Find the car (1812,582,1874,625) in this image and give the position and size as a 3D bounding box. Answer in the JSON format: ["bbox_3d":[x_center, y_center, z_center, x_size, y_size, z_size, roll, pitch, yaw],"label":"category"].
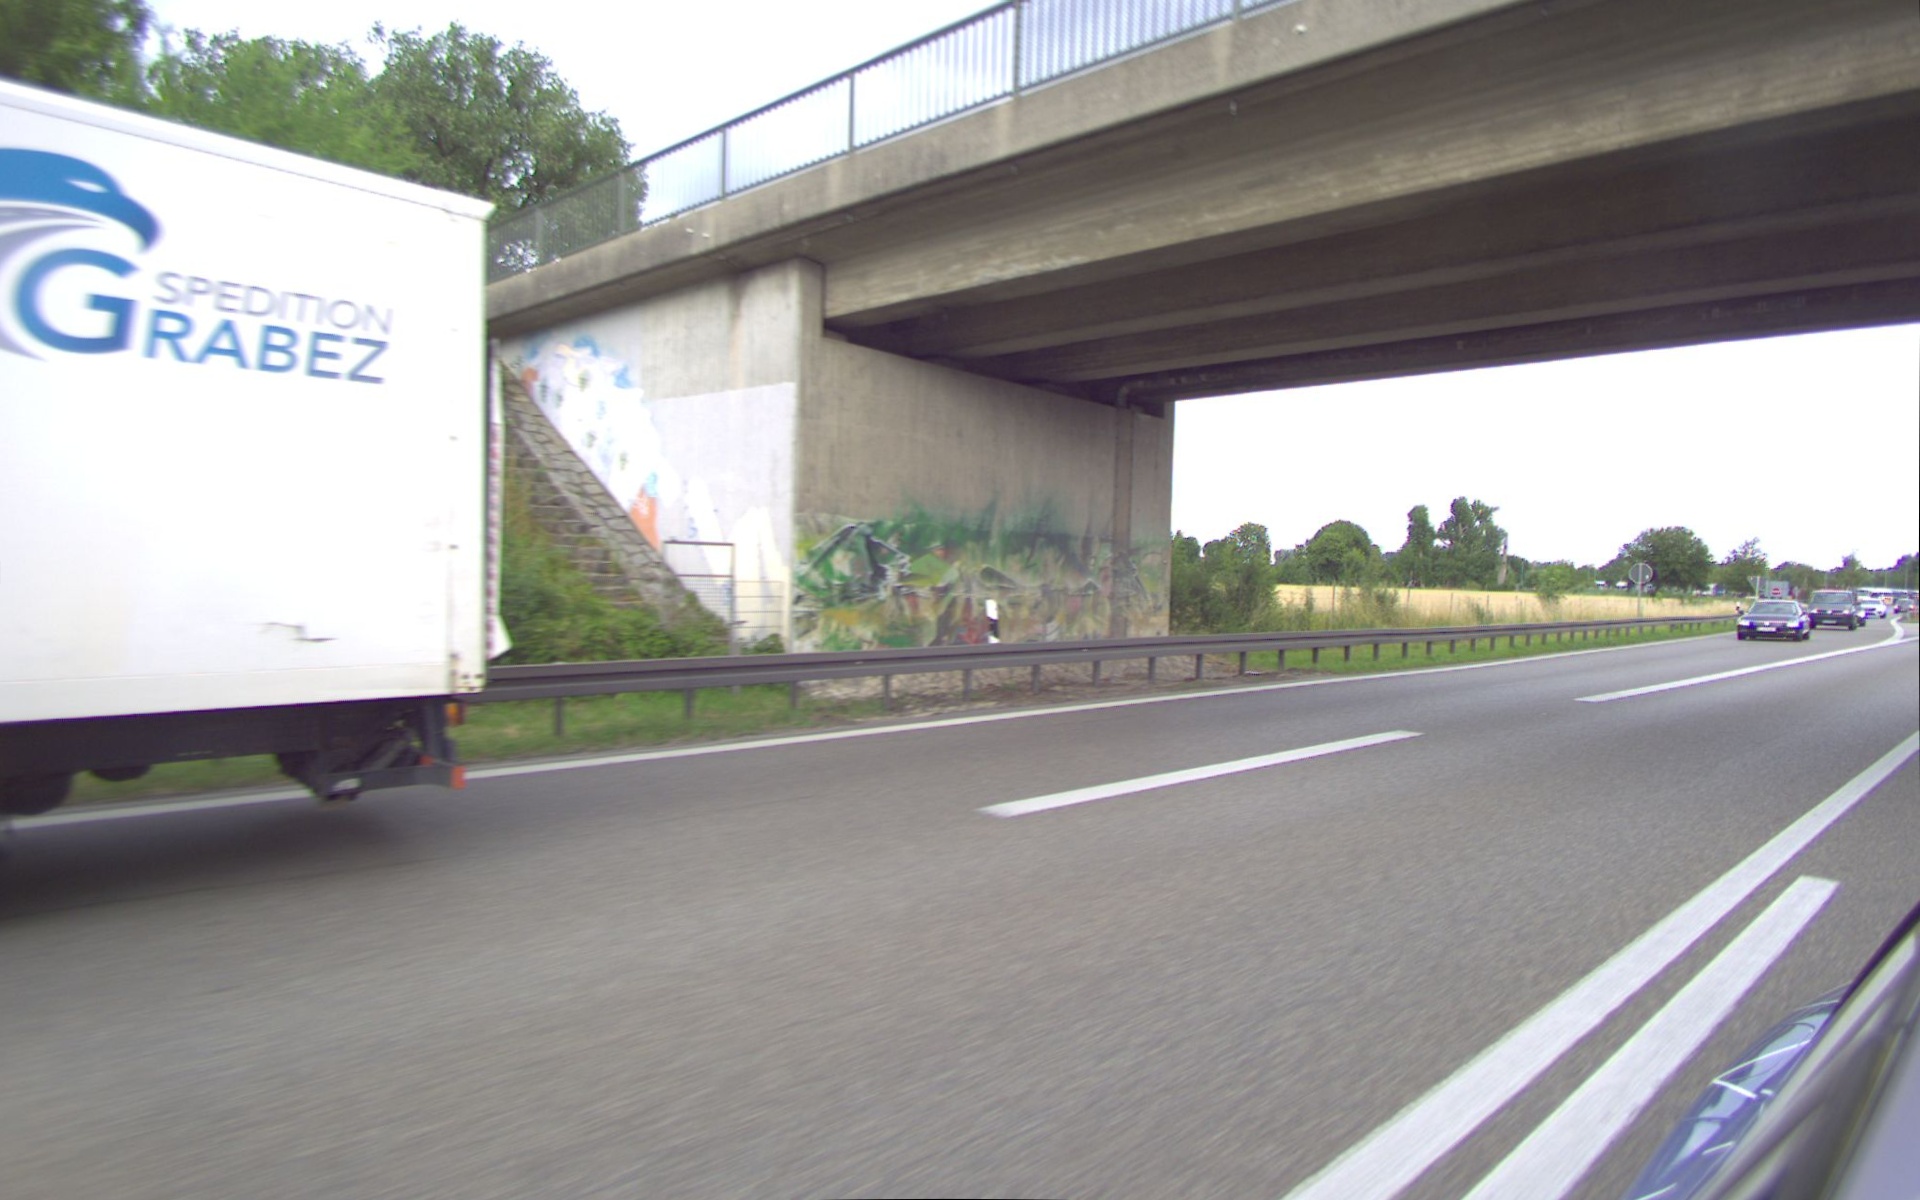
[{"bbox_3d":[44.673,0.151,51.189,2.144,2.089,4.879,1,0,44],"label":"car"}]

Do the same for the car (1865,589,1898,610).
[{"bbox_3d":[82.245,-0.060,90.311,4.981,1.778,1.830,0,2,-44],"label":"car"}]

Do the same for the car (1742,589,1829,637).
[{"bbox_3d":[30.219,0.440,36.991,4.843,1.569,1.919,0,2,-44],"label":"car"}]

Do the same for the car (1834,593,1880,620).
[{"bbox_3d":[53.388,0.367,60.186,4.518,1.503,1.751,0,0,-45],"label":"car"}]

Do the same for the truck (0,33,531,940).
[{"bbox_3d":[-6.488,-0.434,3.491,8.739,3.515,3.108,0,0,-42],"label":"truck"}]
